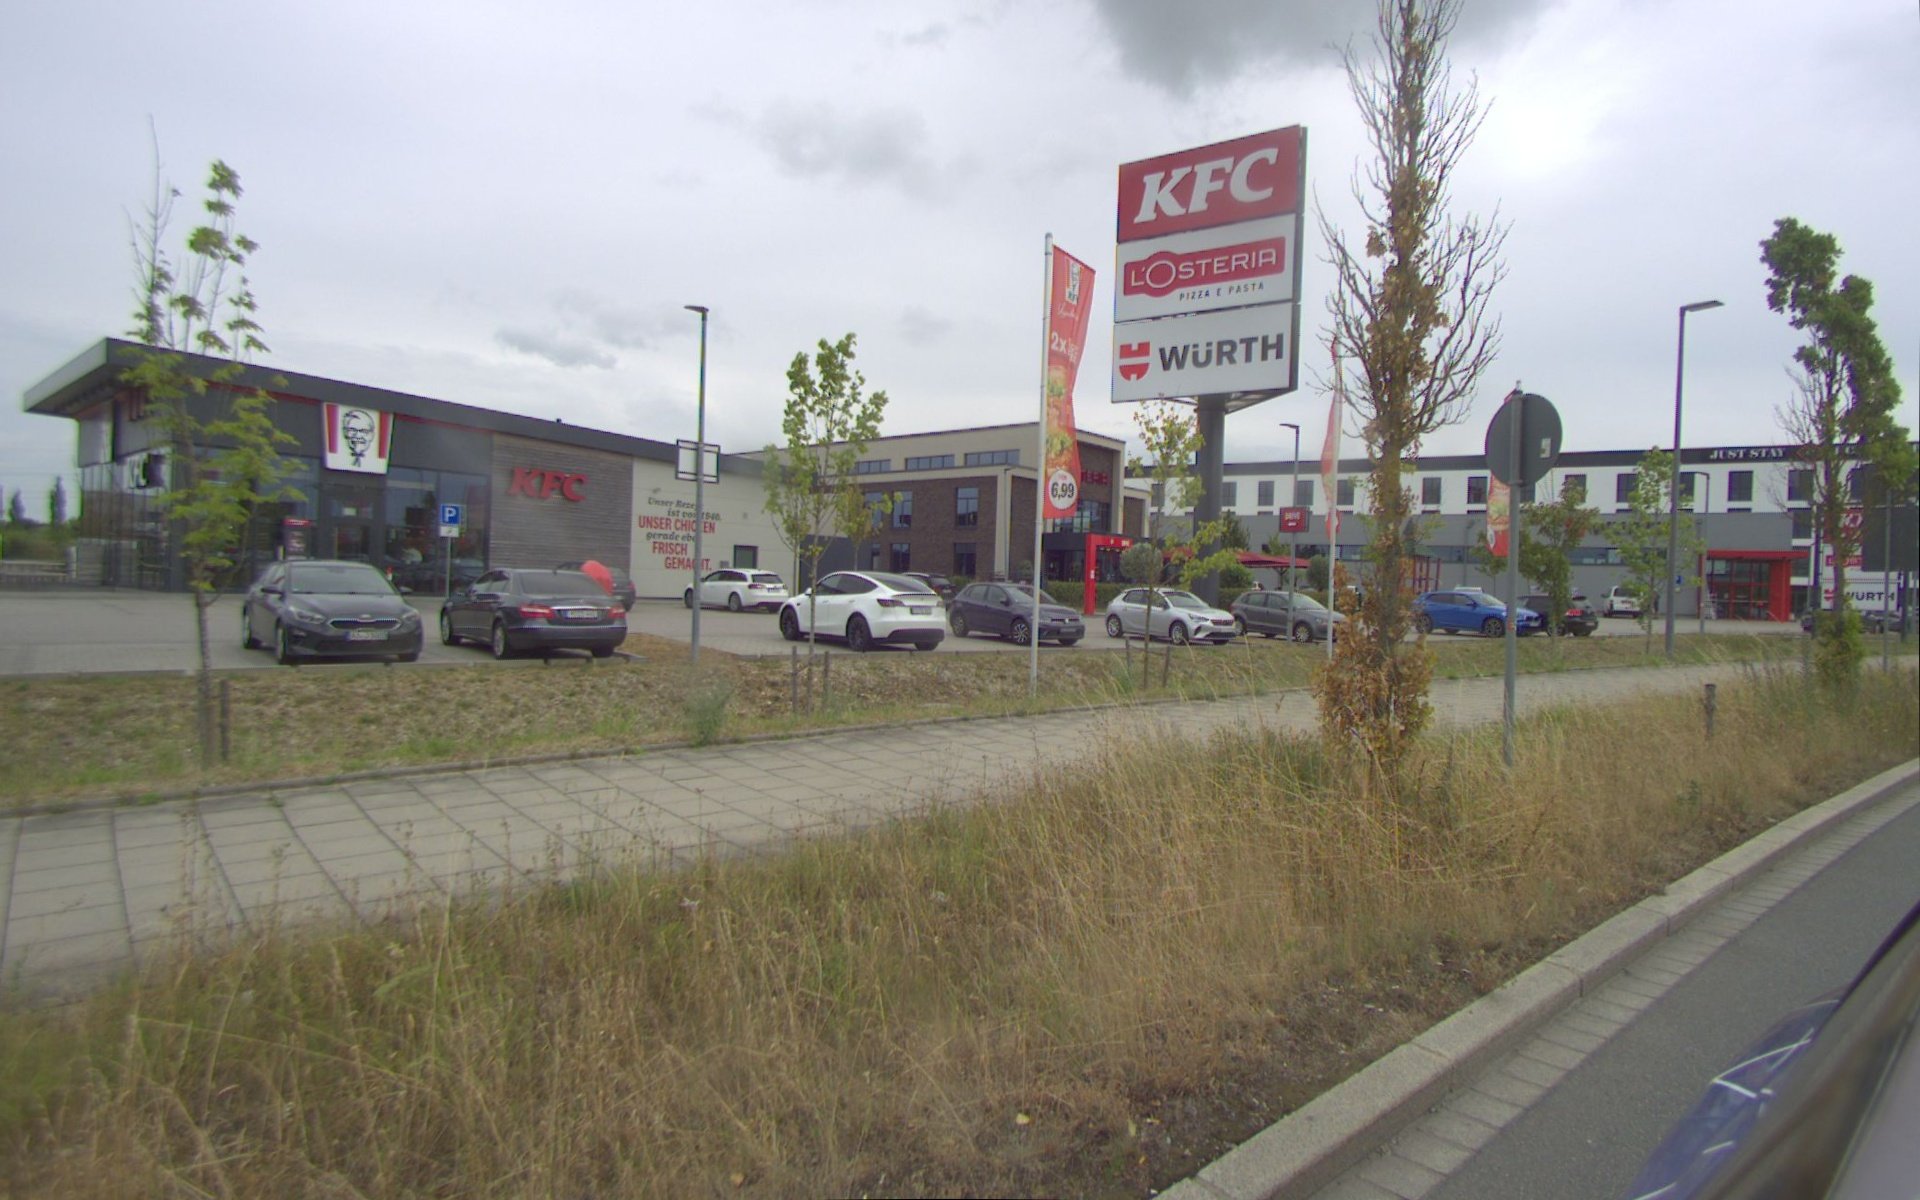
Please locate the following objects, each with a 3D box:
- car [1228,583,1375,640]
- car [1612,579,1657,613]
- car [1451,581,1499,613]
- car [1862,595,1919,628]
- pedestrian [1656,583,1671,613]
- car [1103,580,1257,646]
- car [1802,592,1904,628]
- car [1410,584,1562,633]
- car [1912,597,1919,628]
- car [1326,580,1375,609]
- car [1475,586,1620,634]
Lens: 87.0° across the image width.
[{"bbox_3d":[9.949,0.298,29.725,1.852,1.512,3.774,1,1,-31],"label":"car"},{"bbox_3d":[42.212,-0.232,63.454,1.983,2.012,4.587,2,1,30],"label":"car"},{"bbox_3d":[29.653,-0.183,58.187,1.985,1.719,4.737,2,1,32],"label":"car"},{"bbox_3d":[44.966,0.555,48.045,4.783,1.455,1.871,1,1,-32],"label":"car"},{"bbox_3d":[43.670,-0.127,62.811,0.608,1.892,0.794,1,0,26],"label":"pedestrian"},{"bbox_3d":[5.862,0.302,27.366,1.865,1.499,3.878,1,2,-33],"label":"car"},{"bbox_3d":[40.093,0.456,45.415,4.734,1.478,1.971,1,1,-30],"label":"car"},{"bbox_3d":[18.033,0.260,34.909,1.926,1.539,4.282,1,1,-29],"label":"car"},{"bbox_3d":[50.256,0.641,51.225,4.519,1.515,2.001,0,2,-33],"label":"car"},{"bbox_3d":[23.992,-0.338,62.154,1.971,1.649,4.276,2,1,33],"label":"car"},{"bbox_3d":[20.554,0.312,35.568,1.941,1.512,4.007,1,1,-26],"label":"car"}]
